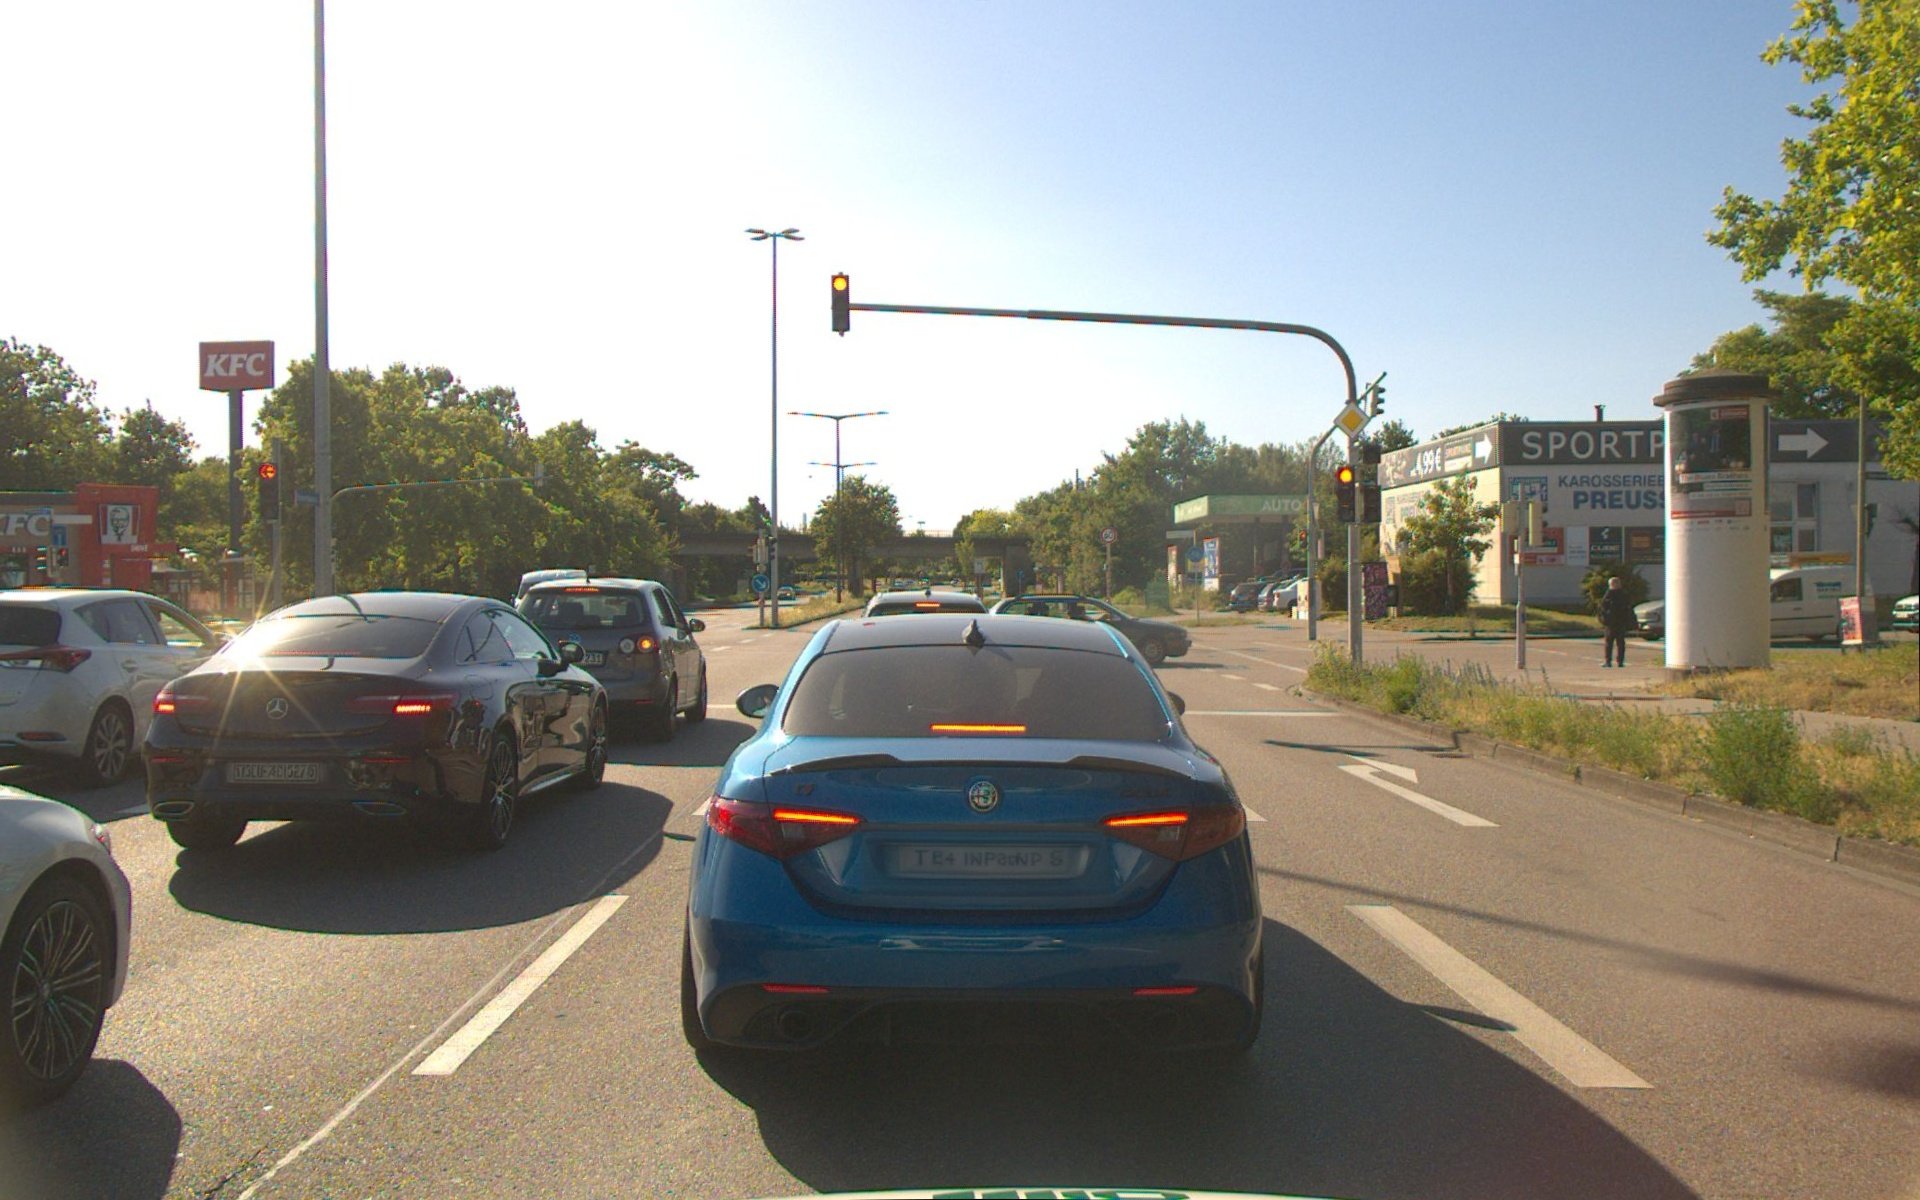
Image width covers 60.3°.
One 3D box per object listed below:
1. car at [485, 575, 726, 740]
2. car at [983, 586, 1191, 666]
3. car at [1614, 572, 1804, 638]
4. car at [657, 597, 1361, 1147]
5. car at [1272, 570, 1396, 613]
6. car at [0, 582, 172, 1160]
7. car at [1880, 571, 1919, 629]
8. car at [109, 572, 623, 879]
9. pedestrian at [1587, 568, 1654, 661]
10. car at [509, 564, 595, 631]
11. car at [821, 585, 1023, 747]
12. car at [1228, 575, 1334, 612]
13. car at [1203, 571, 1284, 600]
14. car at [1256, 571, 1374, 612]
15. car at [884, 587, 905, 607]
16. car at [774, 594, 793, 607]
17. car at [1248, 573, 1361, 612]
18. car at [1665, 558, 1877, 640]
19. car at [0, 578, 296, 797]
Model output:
[{"bbox_3d":[-3.621,0.545,17.657,1.723,1.516,4.401,1,0,-2],"label":"car"},{"bbox_3d":[2.684,0.555,35.686,4.320,1.516,1.765,-2,0,1],"label":"car"},{"bbox_3d":[19.598,0.105,43.383,4.201,1.576,1.764,-1,2,-2],"label":"car"},{"bbox_3d":[0.070,0.737,6.600,1.857,1.443,4.401,1,0,-2],"label":"car"},{"bbox_3d":[14.610,-0.327,64.802,4.397,1.479,1.858,-2,0,1],"label":"car"},{"bbox_3d":[-3.341,0.691,3.054,1.749,1.516,4.401,1,0,-2],"label":"car"},{"bbox_3d":[26.808,-0.067,43.768,3.960,1.516,1.782,-2,0,-3],"label":"car"},{"bbox_3d":[-3.436,0.642,10.559,1.760,1.516,4.474,1,0,-2],"label":"car"},{"bbox_3d":[12.766,0.276,31.994,0.906,1.765,0.938,1,-1,-1],"label":"pedestrian"},{"bbox_3d":[-16.374,-0.101,66.649,1.981,2.489,5.820,-3,0,-1],"label":"car"},{"bbox_3d":[-0.411,0.606,17.228,1.813,1.443,4.401,1,0,-2],"label":"car"},{"bbox_3d":[14.402,-0.296,74.381,4.397,1.479,1.858,-2,0,1],"label":"car"},{"bbox_3d":[16.725,-0.858,97.589,4.457,1.516,1.765,-2,0,1],"label":"car"},{"bbox_3d":[14.487,-0.327,67.579,4.397,1.479,1.858,-2,0,1],"label":"car"},{"bbox_3d":[-6.024,-0.275,152.845,1.853,1.847,3.999,1,0,-1],"label":"car"},{"bbox_3d":[-20.406,0.045,191.708,1.723,1.516,4.477,-2,0,-1],"label":"car"},{"bbox_3d":[14.631,-0.304,70.334,4.397,1.479,1.858,-2,0,1],"label":"car"},{"bbox_3d":[19.588,-0.046,40.025,4.293,1.833,1.764,-1,2,-2],"label":"car"},{"bbox_3d":[-7.104,0.604,13.547,1.723,1.516,4.195,1,0,-2],"label":"car"}]
